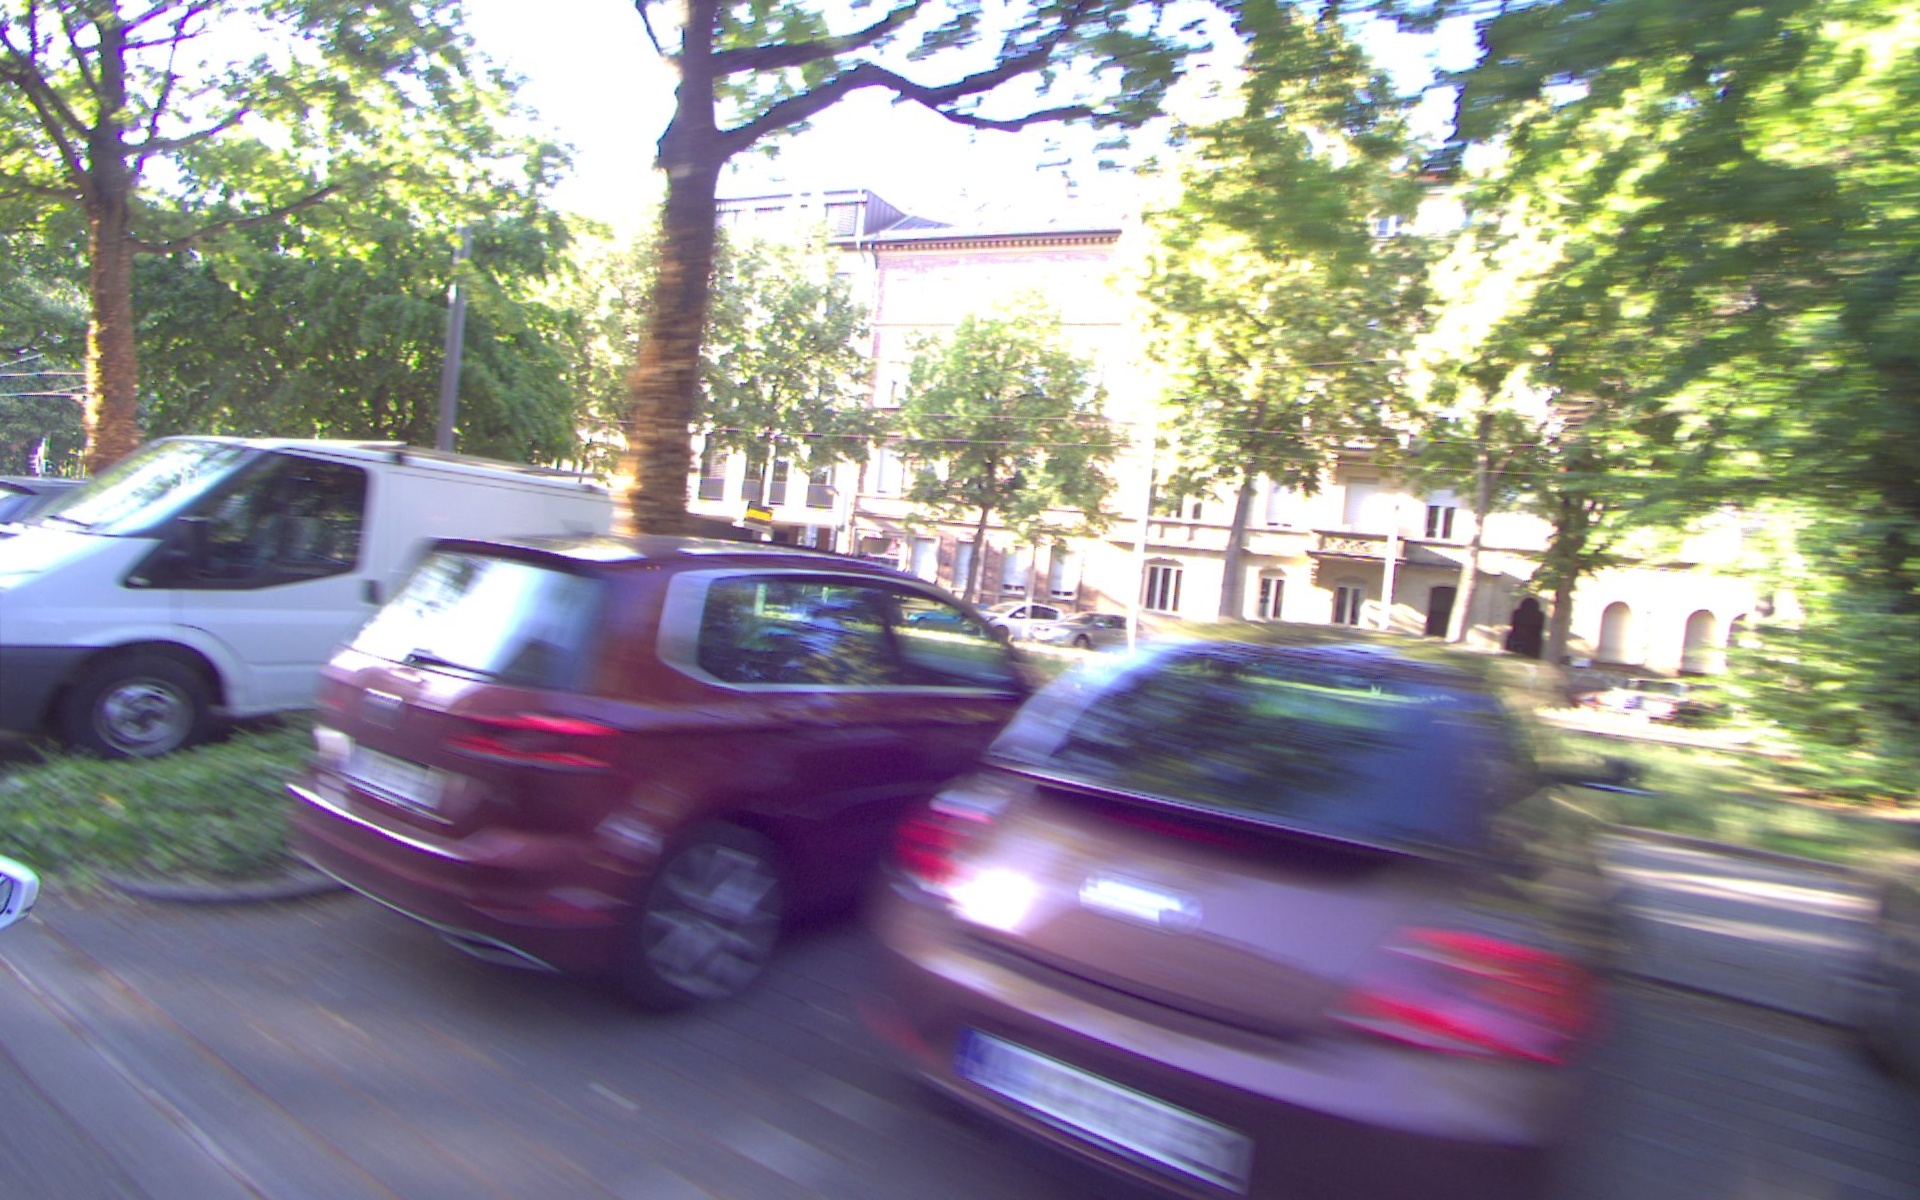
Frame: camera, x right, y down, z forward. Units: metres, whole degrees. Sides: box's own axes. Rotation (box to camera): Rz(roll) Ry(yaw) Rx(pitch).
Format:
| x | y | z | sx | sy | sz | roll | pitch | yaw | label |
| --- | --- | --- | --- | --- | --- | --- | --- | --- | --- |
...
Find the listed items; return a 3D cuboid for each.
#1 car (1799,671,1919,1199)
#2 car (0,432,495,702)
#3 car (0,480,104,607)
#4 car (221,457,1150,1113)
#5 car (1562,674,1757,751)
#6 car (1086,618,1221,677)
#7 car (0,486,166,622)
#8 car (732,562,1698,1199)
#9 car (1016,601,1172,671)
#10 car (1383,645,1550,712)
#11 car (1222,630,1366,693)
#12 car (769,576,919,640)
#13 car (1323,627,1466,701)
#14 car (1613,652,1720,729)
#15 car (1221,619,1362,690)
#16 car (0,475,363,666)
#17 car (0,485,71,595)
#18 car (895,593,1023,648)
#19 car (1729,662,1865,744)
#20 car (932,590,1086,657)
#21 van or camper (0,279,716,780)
| x | y | z | sx | sy | sz | roll | pitch | yaw | label |
| --- | --- | --- | --- | --- | --- | --- | --- | --- | --- |
| 3.393 | 1.049 | 2.143 | 1.834 | 1.472 | 4.219 | 6 | 2 | 33 | car |
| -6.522 | -0.167 | 8.806 | 1.827 | 1.838 | 3.995 | 7 | -1 | 29 | car |
| -14.977 | -0.986 | 13.860 | 1.828 | 1.719 | 4.399 | 5 | -2 | 29 | car |
| -0.792 | 0.497 | 4.809 | 1.829 | 1.713 | 3.986 | 7 | 2 | 33 | car |
| 22.331 | 3.539 | 32.337 | 4.650 | 1.848 | 2.001 | 5 | -2 | 18 | car |
| 7.279 | 1.795 | 37.852 | 4.650 | 1.707 | 2.001 | 5 | -2 | 18 | car |
| -12.766 | -0.697 | 12.572 | 1.828 | 1.566 | 3.995 | 5 | -2 | 29 | car |
| 1.330 | 0.801 | 3.669 | 1.829 | 1.480 | 3.986 | 6 | 2 | 33 | car |
| 4.254 | 1.147 | 31.687 | 4.670 | 1.704 | 1.983 | 7 | -2 | -35 | car |
| 16.974 | 2.615 | 33.966 | 4.650 | 1.707 | 2.001 | 5 | -2 | 18 | car |
| 11.953 | 2.197 | 36.166 | 4.650 | 1.707 | 2.001 | 5 | -2 | 18 | car |
| -3.956 | 0.296 | 34.602 | 4.670 | 1.704 | 1.983 | 7 | -2 | -35 | car |
| 12.324 | 1.830 | 28.440 | 3.968 | 1.704 | 1.980 | 7 | -2 | -39 | car |
| 18.594 | 2.388 | 26.643 | 1.968 | 1.703 | 3.992 | 5 | -2 | 32 | car |
| 9.761 | 1.615 | 29.508 | 3.968 | 1.704 | 1.980 | 7 | -2 | -39 | car |
| -8.528 | -0.260 | 10.004 | 1.828 | 1.566 | 3.995 | 5 | -2 | 29 | car |
| -16.915 | -1.156 | 15.780 | 1.828 | 1.719 | 3.995 | 5 | -2 | 29 | car |
| -0.031 | 0.842 | 40.726 | 4.650 | 1.707 | 2.001 | 5 | -2 | 18 | car |
| 20.843 | 2.559 | 25.227 | 1.968 | 1.703 | 3.992 | 5 | -2 | 32 | car |
| 1.628 | 0.780 | 32.667 | 4.670 | 1.704 | 1.983 | 7 | -2 | -35 | car |
| -4.442 | -0.209 | 7.341 | 2.149 | 2.405 | 4.990 | 5 | -2 | 30 | van or camper |
